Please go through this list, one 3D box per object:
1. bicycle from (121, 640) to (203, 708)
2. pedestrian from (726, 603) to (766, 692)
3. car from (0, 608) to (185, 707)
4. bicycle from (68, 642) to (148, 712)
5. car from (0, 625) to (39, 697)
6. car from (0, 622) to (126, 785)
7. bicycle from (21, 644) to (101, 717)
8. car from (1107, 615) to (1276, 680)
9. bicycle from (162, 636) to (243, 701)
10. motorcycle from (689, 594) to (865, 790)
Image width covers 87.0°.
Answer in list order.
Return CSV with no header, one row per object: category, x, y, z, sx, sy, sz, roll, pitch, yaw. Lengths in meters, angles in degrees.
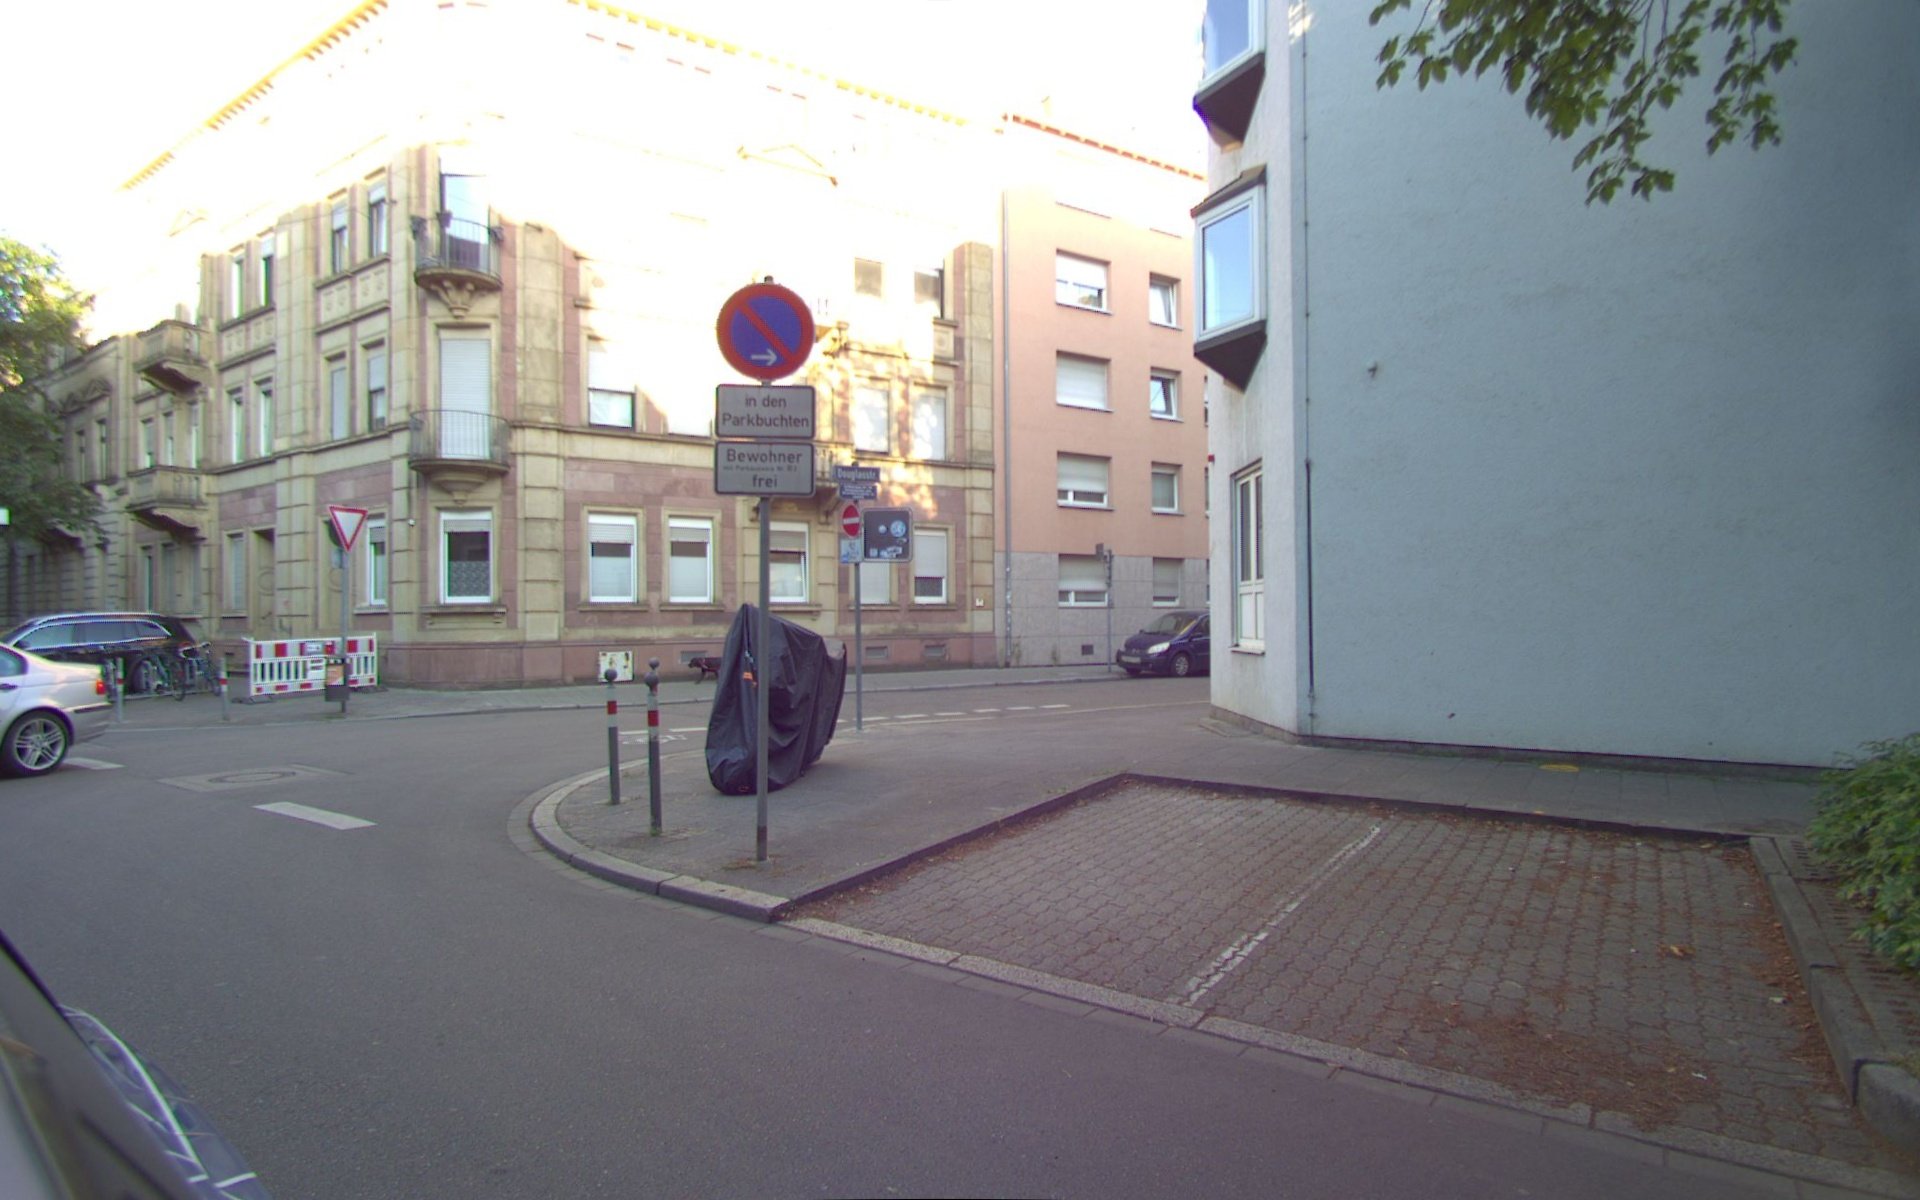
bicycle,-14.623,1.330,18.532,2.033,1.159,0.556,-1,-1,33
pedestrian,-4.467,0.988,21.103,0.640,1.821,0.575,1,-2,-31
car,-17.720,1.065,19.313,1.740,1.795,4.367,-1,-2,39
bicycle,-15.094,1.328,17.904,2.034,1.159,0.555,-1,-1,34
car,-24.127,1.437,23.244,1.740,1.690,4.190,-1,-2,39
car,-9.555,0.920,8.147,1.693,1.453,4.424,-1,-1,8
bicycle,-15.447,1.352,17.375,2.034,1.159,0.555,-1,-1,34
car,5.915,1.151,25.701,4.297,1.529,1.789,1,-2,-36
bicycle,-14.268,1.268,19.035,2.033,1.159,0.556,-1,-1,33
motorcycle,-1.550,0.740,9.052,0.809,1.516,2.276,-1,-1,10
